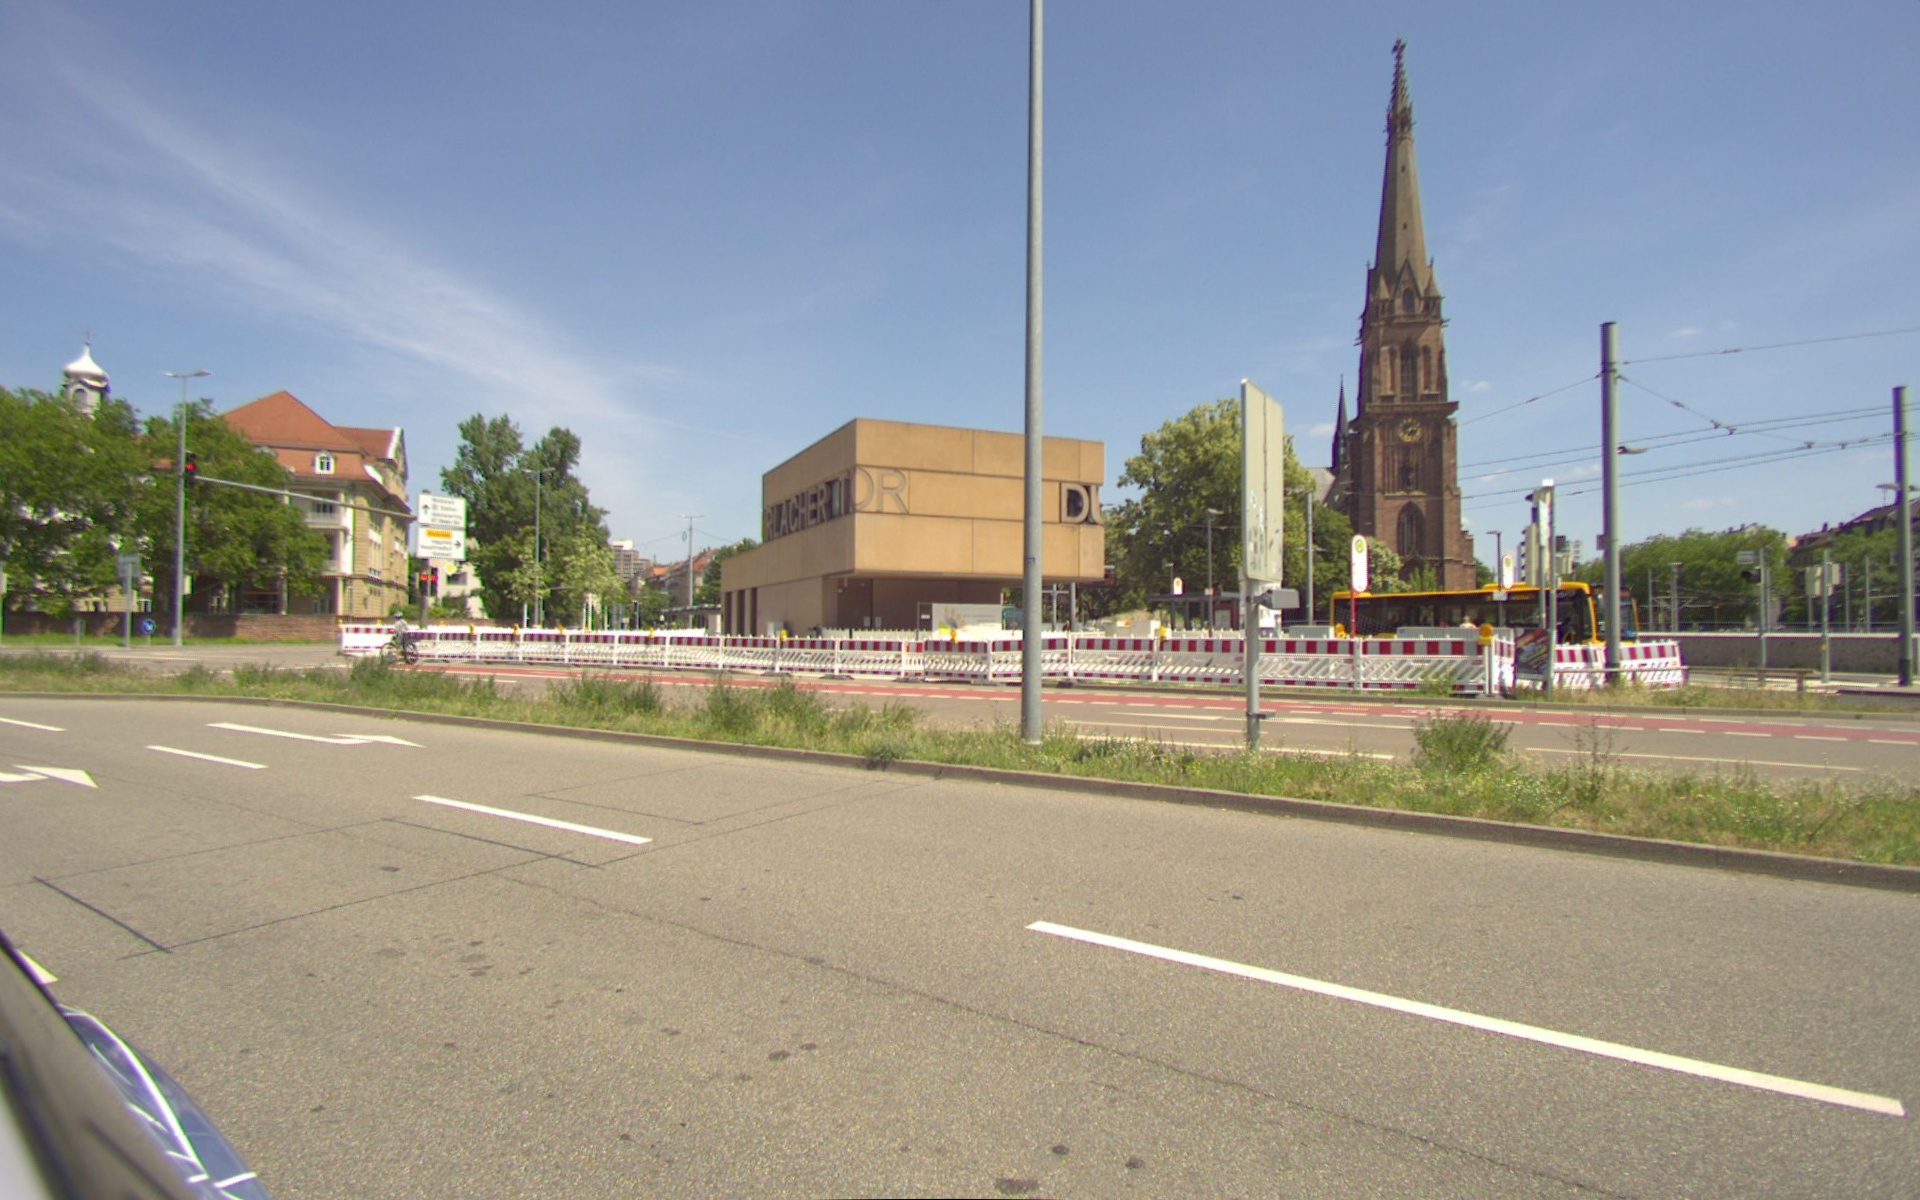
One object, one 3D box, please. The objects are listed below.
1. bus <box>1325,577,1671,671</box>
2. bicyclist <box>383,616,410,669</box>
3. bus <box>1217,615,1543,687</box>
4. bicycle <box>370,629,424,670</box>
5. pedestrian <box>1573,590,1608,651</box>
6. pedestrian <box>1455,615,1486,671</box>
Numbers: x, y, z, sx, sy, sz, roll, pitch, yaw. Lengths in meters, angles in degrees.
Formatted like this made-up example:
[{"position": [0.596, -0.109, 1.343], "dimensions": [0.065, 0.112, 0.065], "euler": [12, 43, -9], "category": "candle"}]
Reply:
[{"position": [20.234, 0.990, 39.625], "dimensions": [3.674, 3.064, 12.293], "euler": [1, -2, -24], "category": "bus"}, {"position": [-17.289, 1.293, 31.042], "dimensions": [0.496, 1.591, 0.526], "euler": [0, -2, 28], "category": "bicyclist"}, {"position": [8.159, 1.051, 20.084], "dimensions": [5.803, 1.259, 1.234], "euler": [-4, -3, 33], "category": "bus"}, {"position": [-17.273, 1.501, 31.029], "dimensions": [1.890, 1.189, 0.519], "euler": [0, -2, 29], "category": "bicycle"}, {"position": [21.129, 0.678, 33.921], "dimensions": [0.601, 2.011, 0.666], "euler": [-1, -3, -20], "category": "pedestrian"}, {"position": [18.514, 1.557, 36.708], "dimensions": [0.601, 2.011, 0.665], "euler": [-1, -3, -10], "category": "pedestrian"}]
